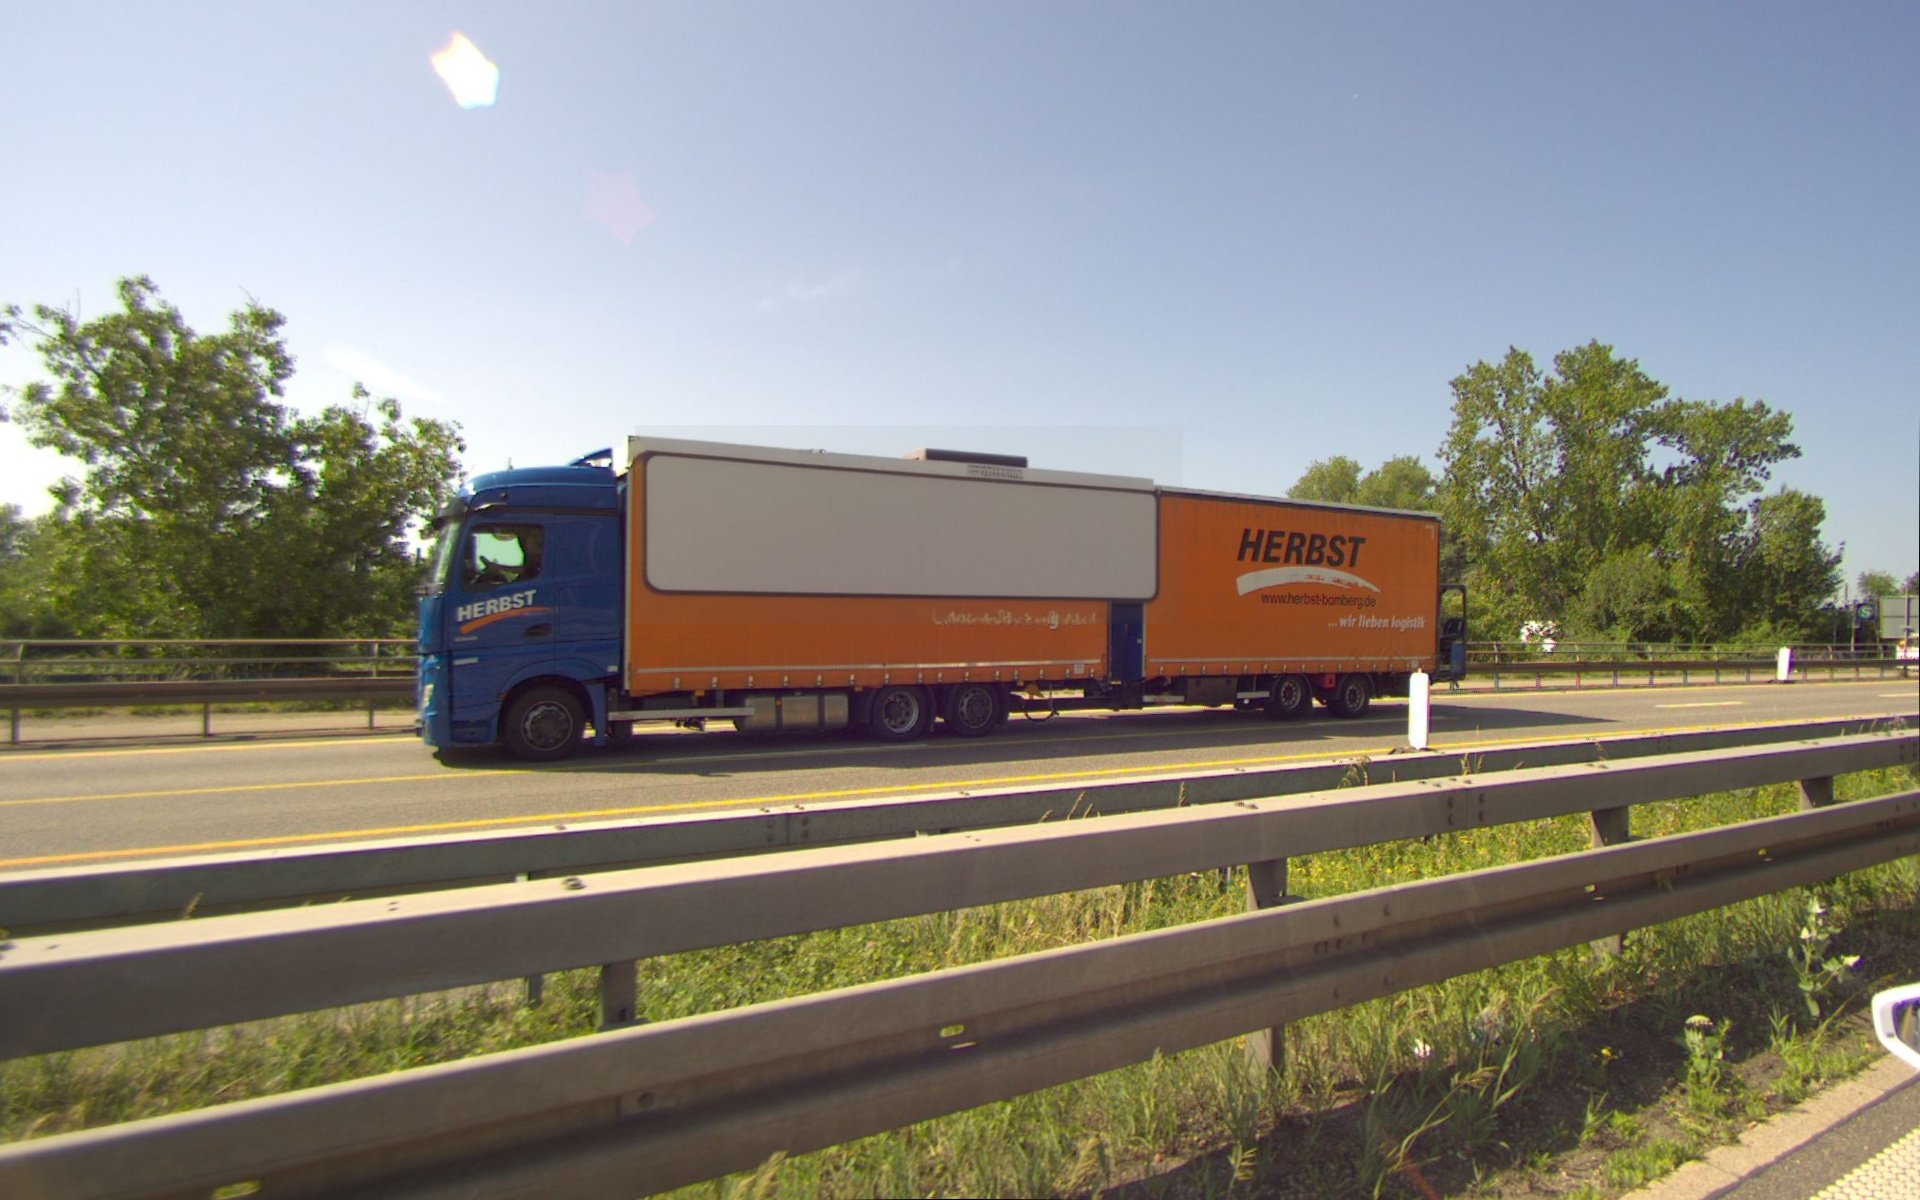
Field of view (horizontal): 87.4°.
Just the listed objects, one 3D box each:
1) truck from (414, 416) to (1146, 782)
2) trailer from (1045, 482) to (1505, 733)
[{"bbox_3d":[-2.276,0.058,15.243,10.493,4.146,3.025,1,0,-29],"label":"truck"},{"bbox_3d":[6.596,0.190,20.307,9.668,4.146,3.025,1,0,-29],"label":"trailer"}]
